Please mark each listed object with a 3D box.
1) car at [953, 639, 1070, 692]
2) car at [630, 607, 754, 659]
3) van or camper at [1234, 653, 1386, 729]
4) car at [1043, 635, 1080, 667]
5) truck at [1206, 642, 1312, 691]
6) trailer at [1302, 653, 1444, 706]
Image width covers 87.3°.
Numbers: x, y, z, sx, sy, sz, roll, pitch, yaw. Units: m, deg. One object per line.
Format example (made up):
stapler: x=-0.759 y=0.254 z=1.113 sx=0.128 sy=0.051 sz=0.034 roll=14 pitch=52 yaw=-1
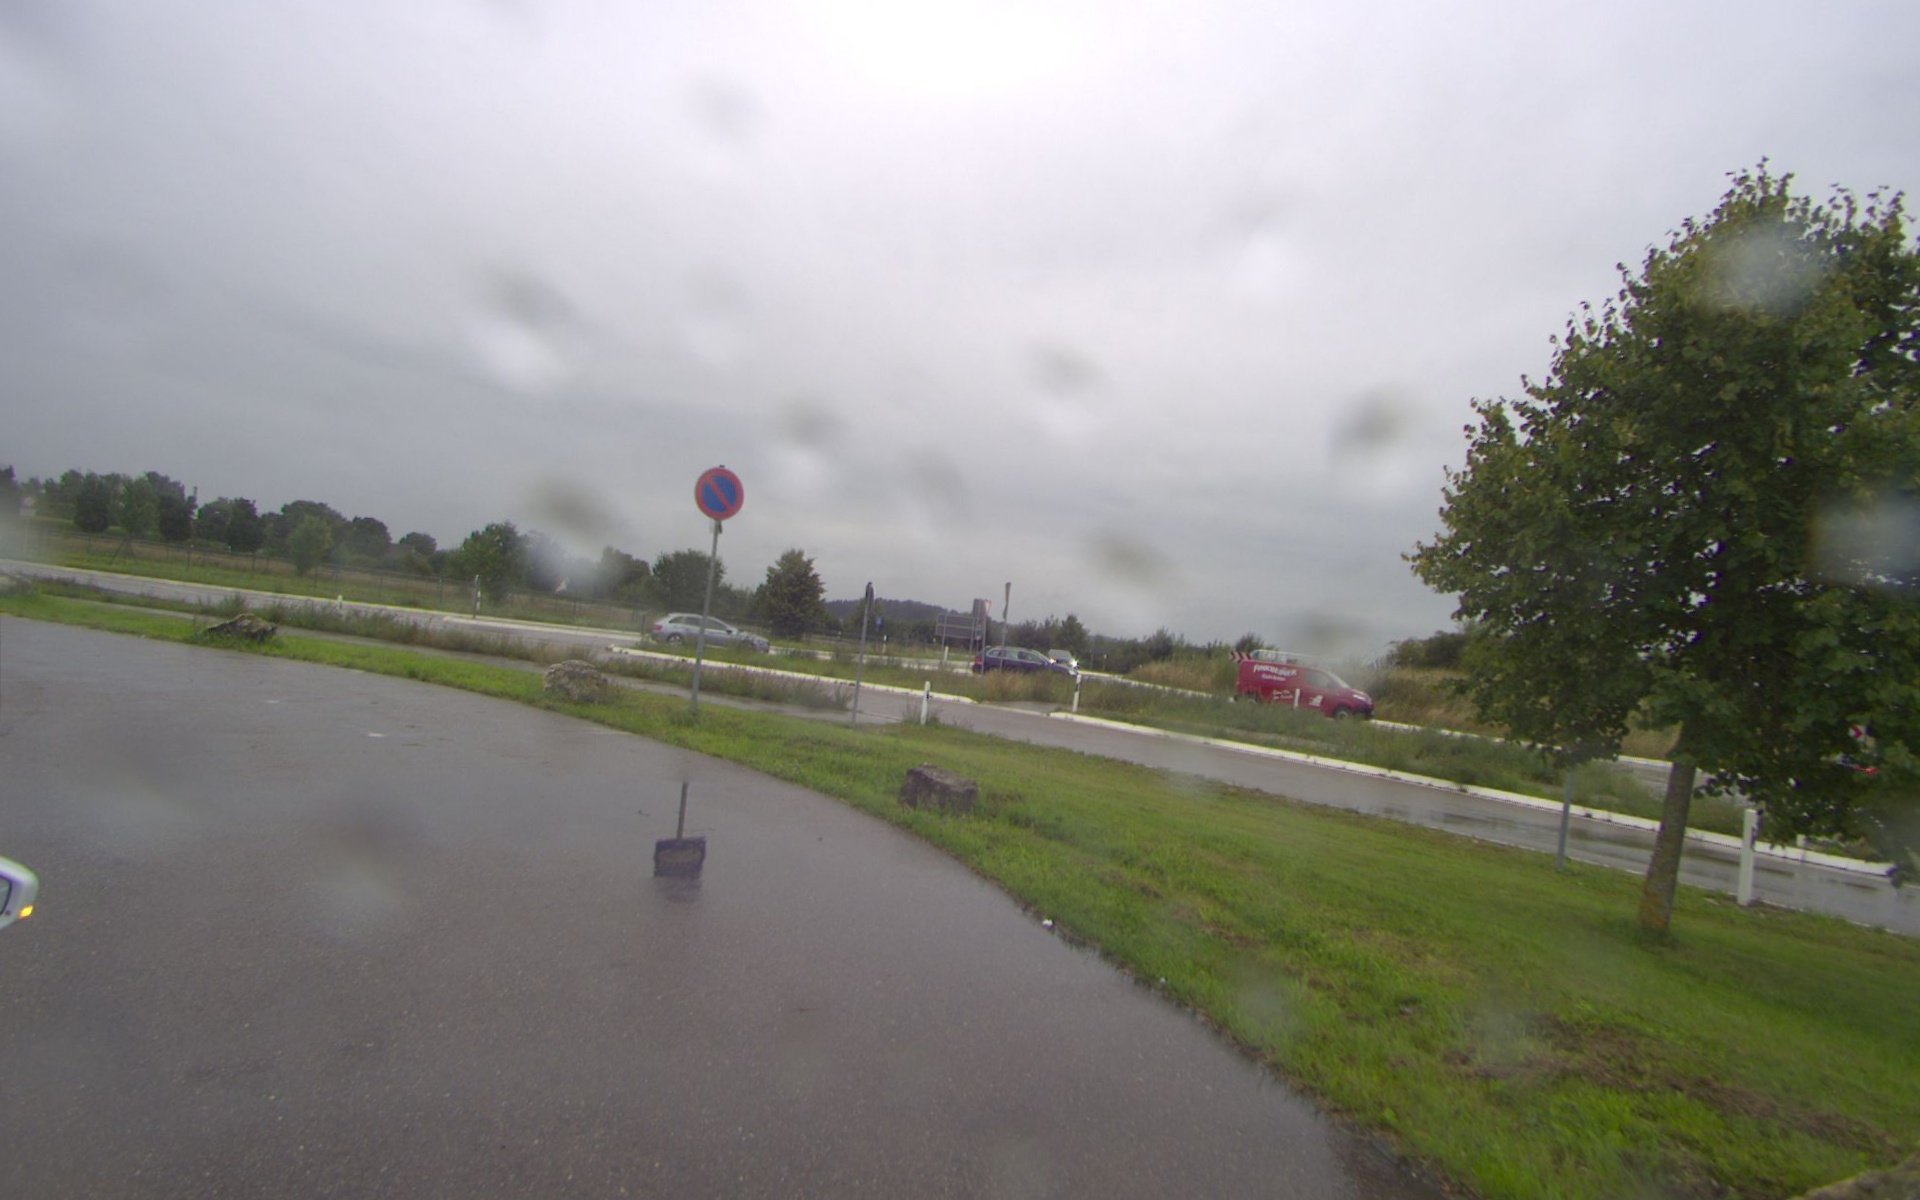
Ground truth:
car: x=2.157 y=2.694 z=41.371 sx=4.437 sy=1.621 sz=2.003 roll=6 pitch=-2 yaw=11
car: x=-10.865 y=1.327 z=41.086 sx=4.583 sy=1.500 sz=1.996 roll=7 pitch=0 yaw=-9
van or camper: x=12.783 y=3.259 z=36.824 sx=4.766 sy=2.039 sz=1.995 roll=7 pitch=1 yaw=31
car: x=6.692 y=3.342 z=66.775 sx=1.857 sy=1.705 sz=4.669 roll=5 pitch=0 yaw=1
truck: x=23.987 y=5.305 z=81.008 sx=7.643 sy=2.941 sz=2.187 roll=7 pitch=-2 yaw=6
trailer: x=32.710 y=6.317 z=79.977 sx=9.949 sy=2.935 sz=2.210 roll=7 pitch=-2 yaw=7
